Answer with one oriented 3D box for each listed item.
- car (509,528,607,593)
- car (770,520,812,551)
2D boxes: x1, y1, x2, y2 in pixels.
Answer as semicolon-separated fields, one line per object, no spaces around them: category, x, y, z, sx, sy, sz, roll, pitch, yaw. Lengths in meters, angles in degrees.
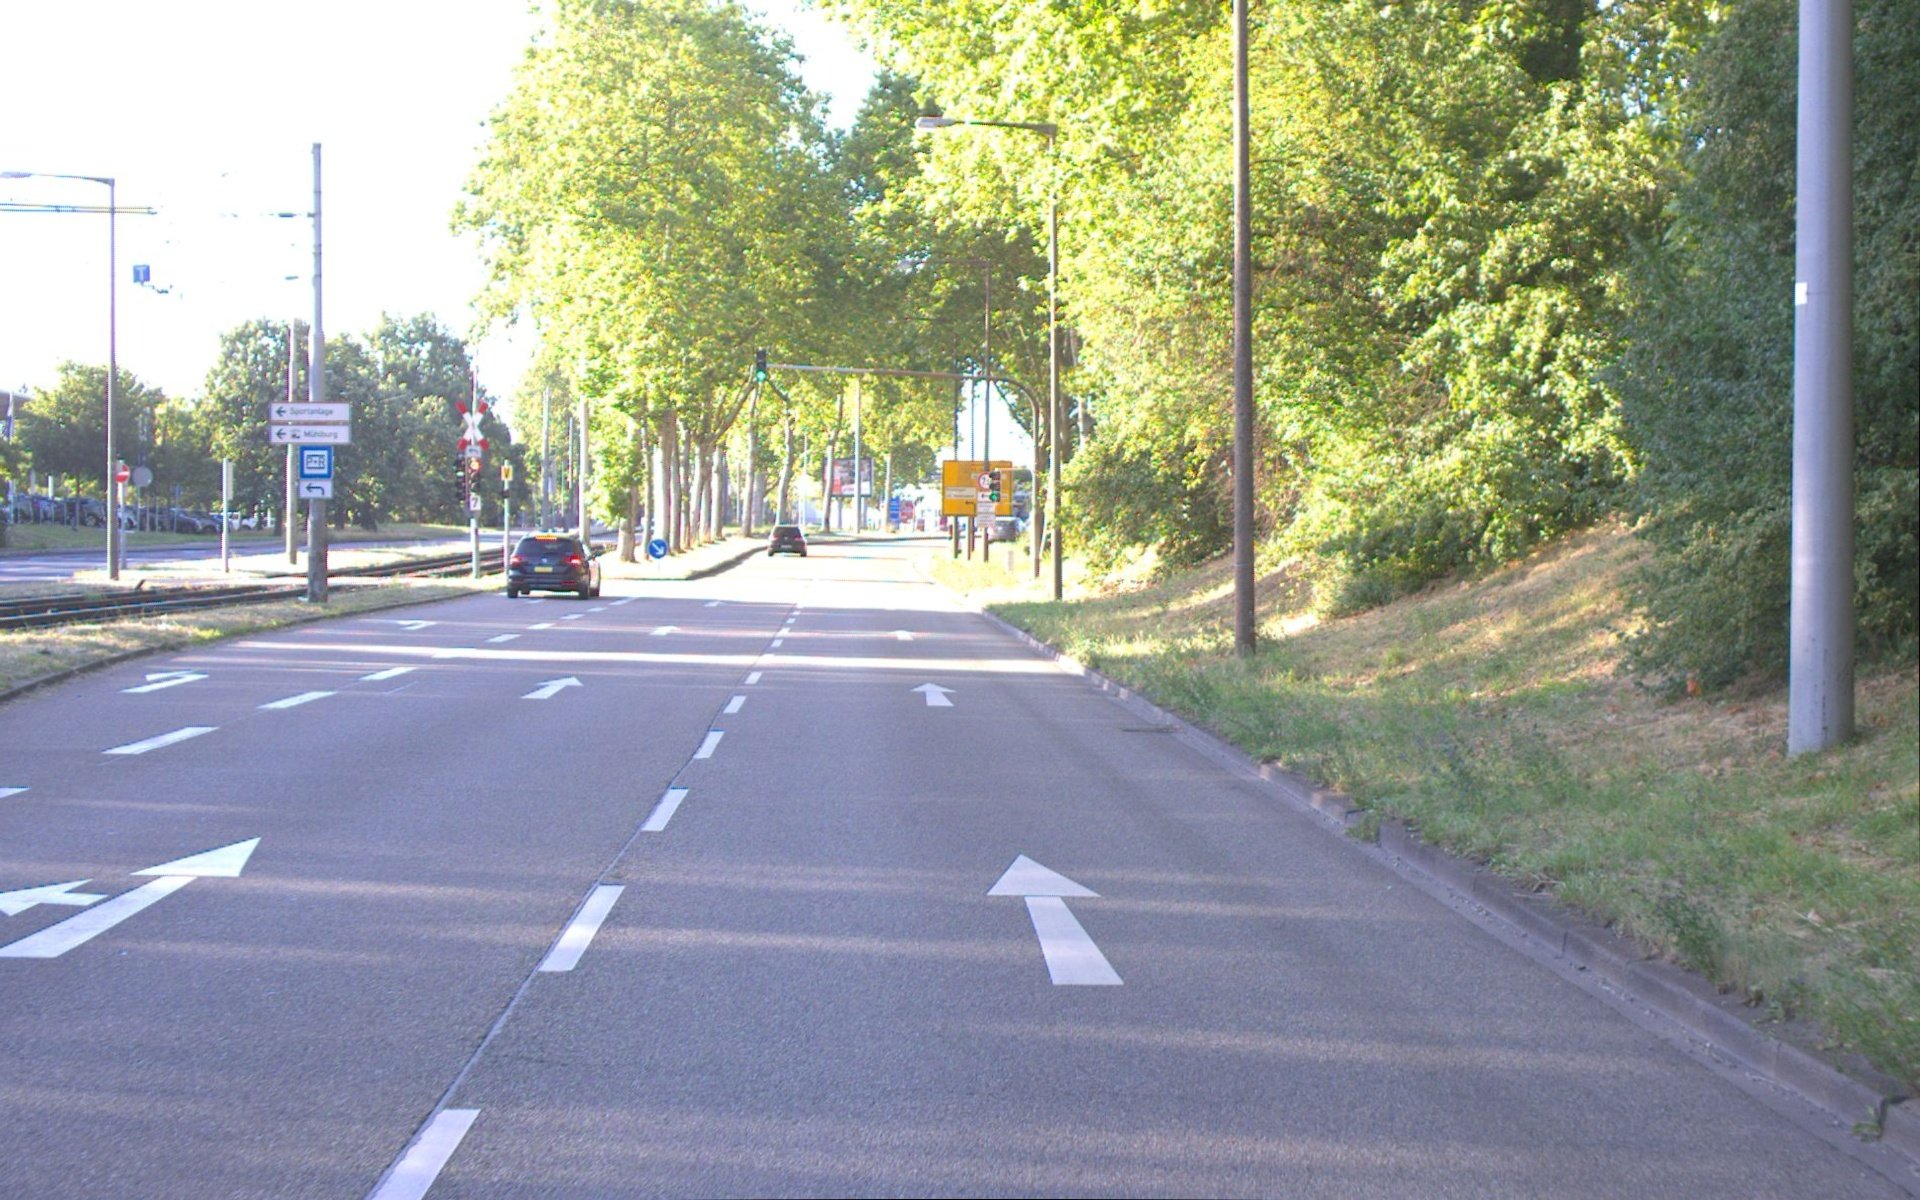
car;-8.924;-0.885;76.512;1.792;1.398;3.689;0;1;-1
car;-7.876;-2.995;160.552;1.792;1.398;3.689;1;1;-1
